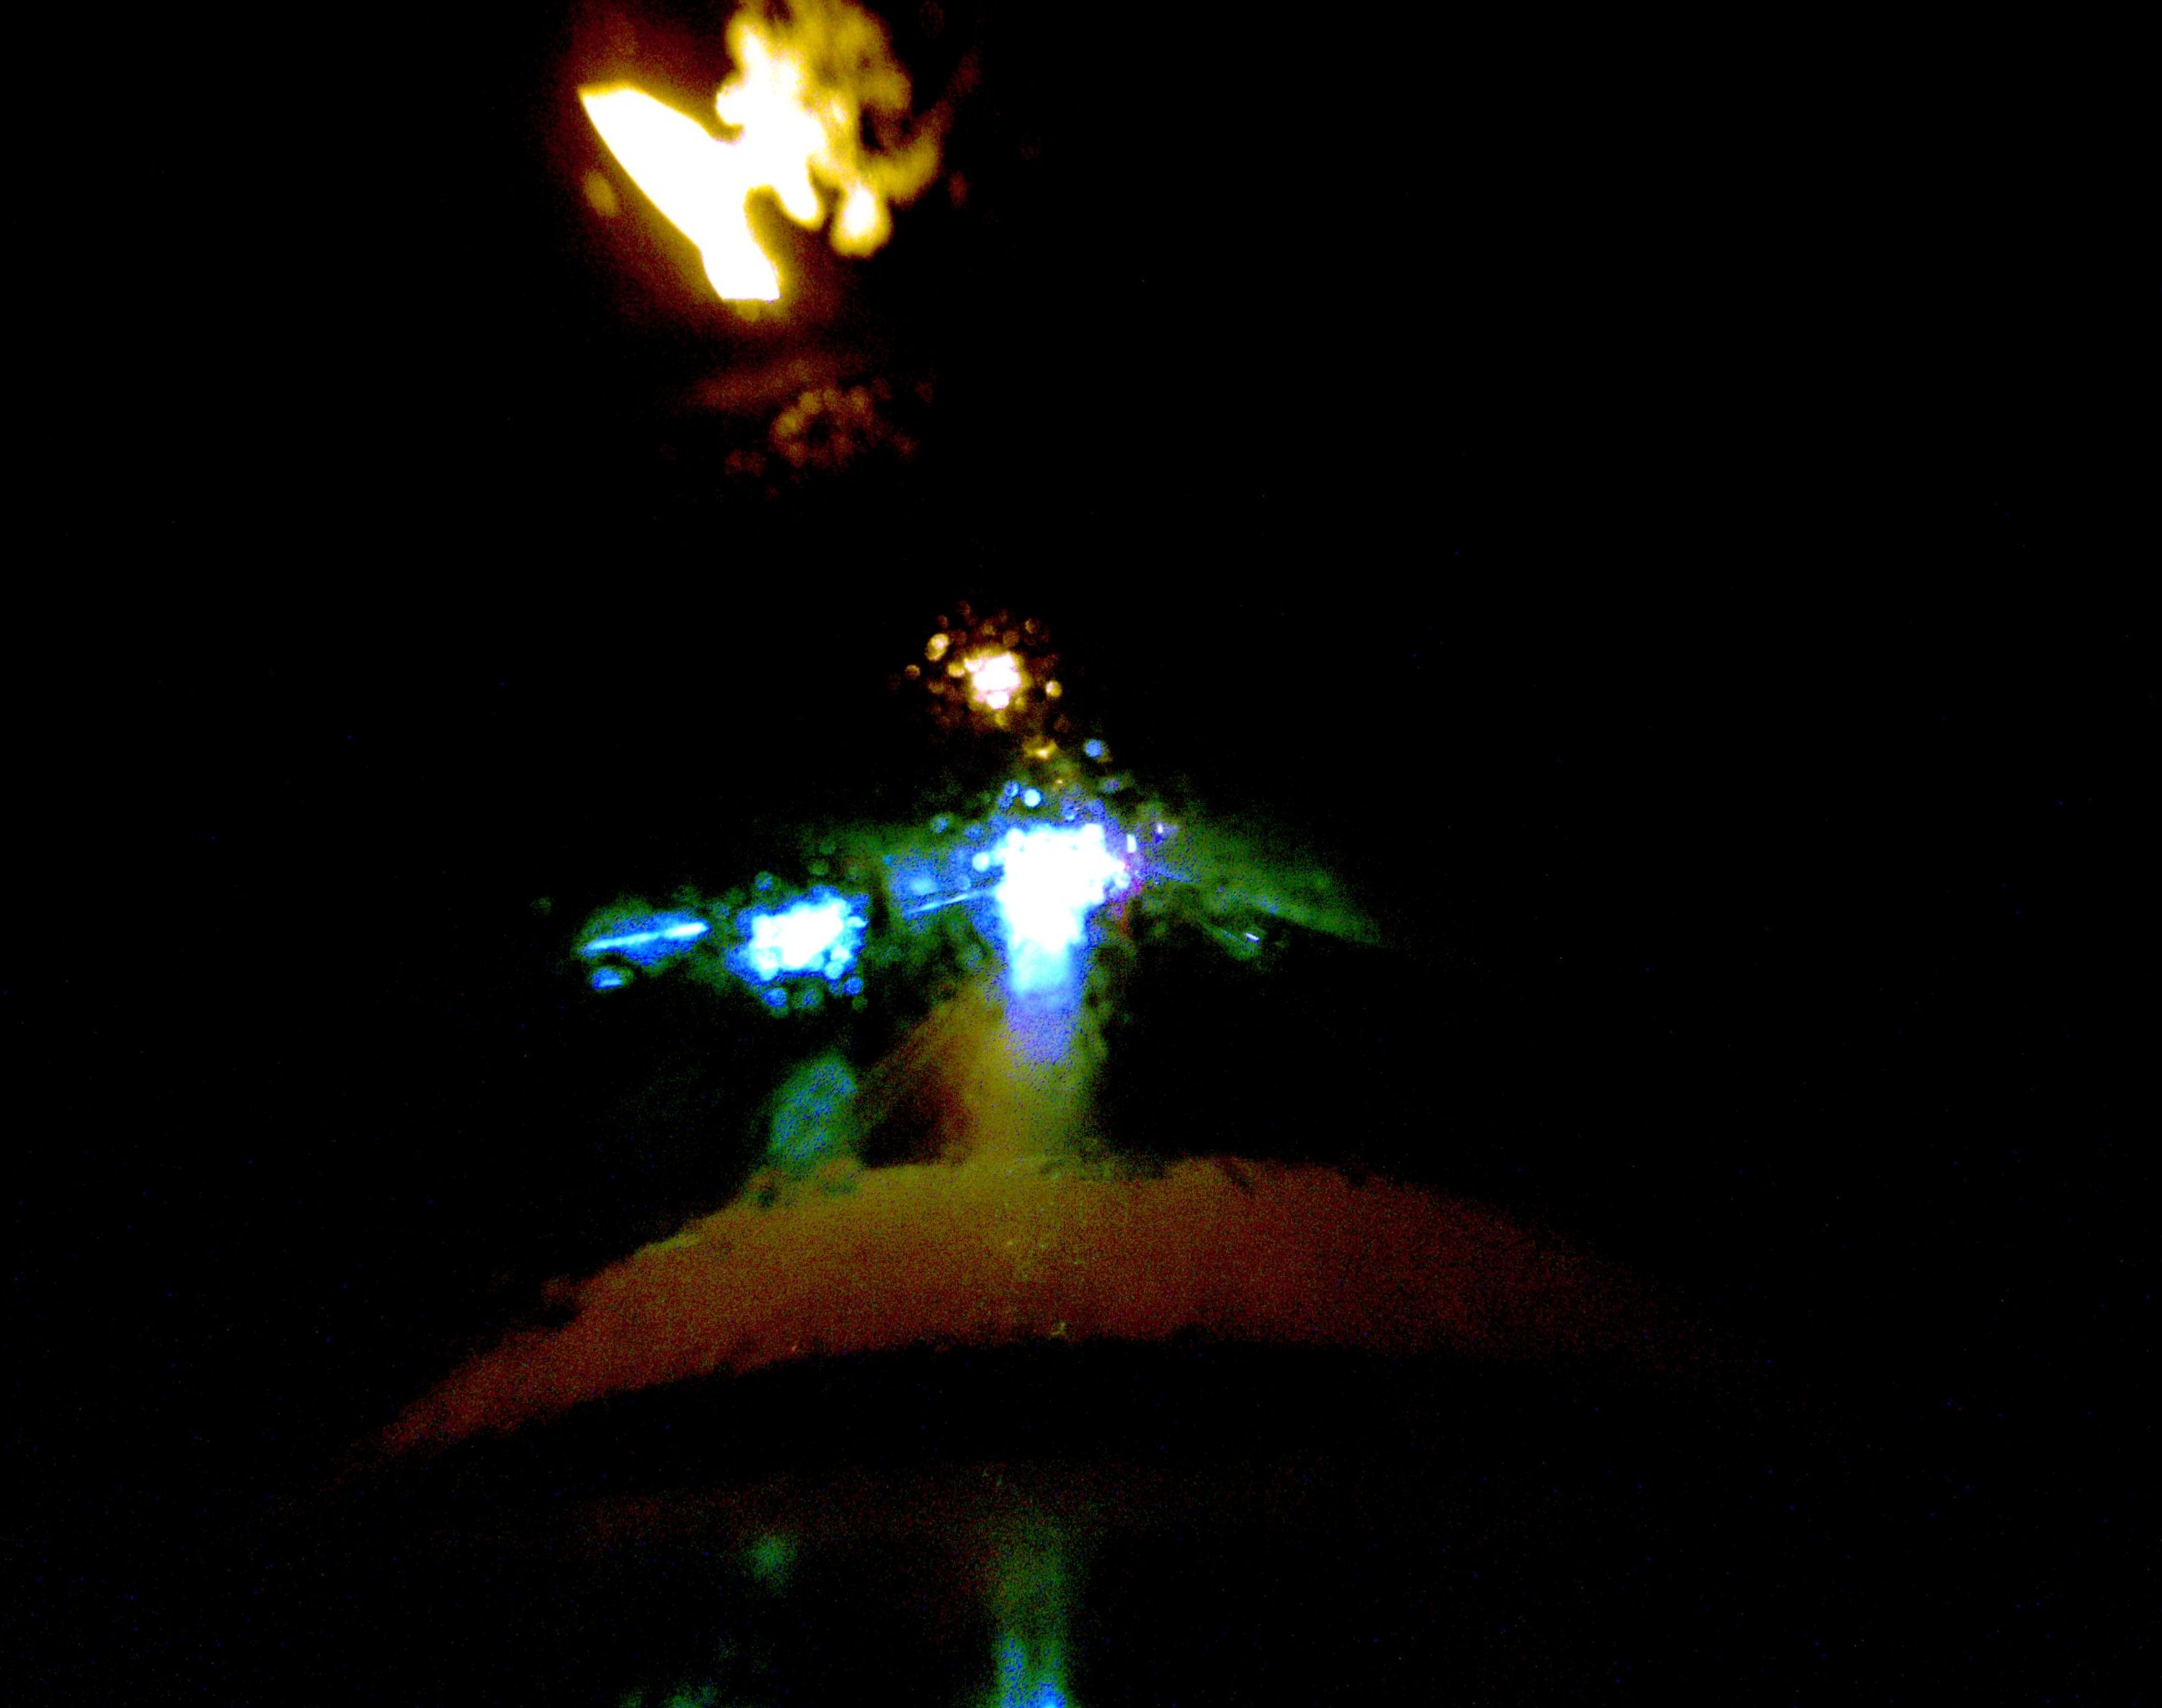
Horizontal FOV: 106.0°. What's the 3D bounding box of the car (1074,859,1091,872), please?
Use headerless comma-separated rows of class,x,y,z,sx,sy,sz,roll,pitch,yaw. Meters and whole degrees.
car,0.139,1.458,106.646,1.911,1.728,3.993,0,0,-5

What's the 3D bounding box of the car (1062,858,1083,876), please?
car,-0.797,1.226,79.192,1.774,1.676,4.563,0,0,2

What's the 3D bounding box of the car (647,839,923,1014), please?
car,-3.160,0.684,9.667,1.629,1.628,4.147,0,0,2

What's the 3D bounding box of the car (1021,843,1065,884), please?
car,-1.852,0.455,40.845,1.774,1.928,5.140,0,0,2

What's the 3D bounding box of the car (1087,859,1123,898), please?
car,1.155,1.117,38.828,1.629,1.758,4.147,0,0,2
